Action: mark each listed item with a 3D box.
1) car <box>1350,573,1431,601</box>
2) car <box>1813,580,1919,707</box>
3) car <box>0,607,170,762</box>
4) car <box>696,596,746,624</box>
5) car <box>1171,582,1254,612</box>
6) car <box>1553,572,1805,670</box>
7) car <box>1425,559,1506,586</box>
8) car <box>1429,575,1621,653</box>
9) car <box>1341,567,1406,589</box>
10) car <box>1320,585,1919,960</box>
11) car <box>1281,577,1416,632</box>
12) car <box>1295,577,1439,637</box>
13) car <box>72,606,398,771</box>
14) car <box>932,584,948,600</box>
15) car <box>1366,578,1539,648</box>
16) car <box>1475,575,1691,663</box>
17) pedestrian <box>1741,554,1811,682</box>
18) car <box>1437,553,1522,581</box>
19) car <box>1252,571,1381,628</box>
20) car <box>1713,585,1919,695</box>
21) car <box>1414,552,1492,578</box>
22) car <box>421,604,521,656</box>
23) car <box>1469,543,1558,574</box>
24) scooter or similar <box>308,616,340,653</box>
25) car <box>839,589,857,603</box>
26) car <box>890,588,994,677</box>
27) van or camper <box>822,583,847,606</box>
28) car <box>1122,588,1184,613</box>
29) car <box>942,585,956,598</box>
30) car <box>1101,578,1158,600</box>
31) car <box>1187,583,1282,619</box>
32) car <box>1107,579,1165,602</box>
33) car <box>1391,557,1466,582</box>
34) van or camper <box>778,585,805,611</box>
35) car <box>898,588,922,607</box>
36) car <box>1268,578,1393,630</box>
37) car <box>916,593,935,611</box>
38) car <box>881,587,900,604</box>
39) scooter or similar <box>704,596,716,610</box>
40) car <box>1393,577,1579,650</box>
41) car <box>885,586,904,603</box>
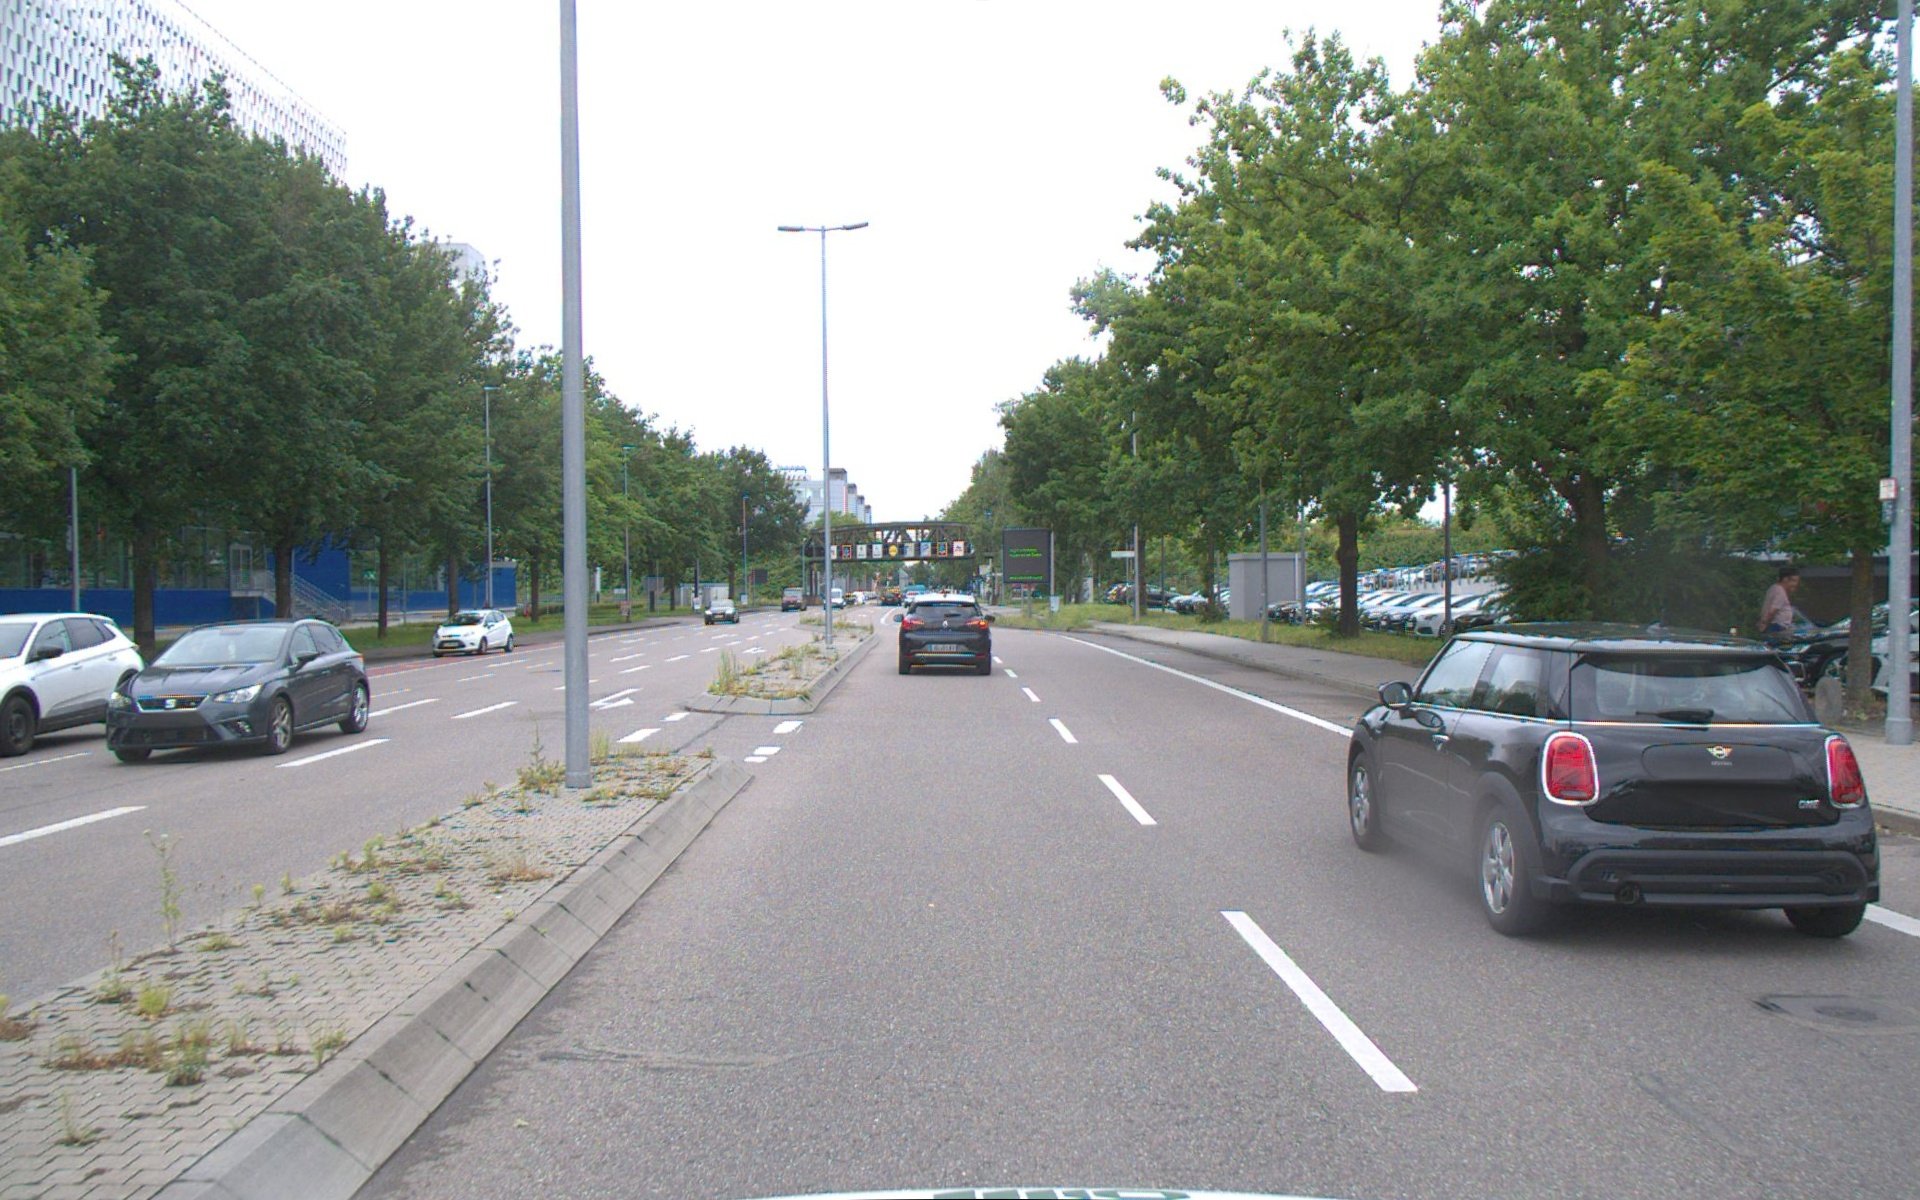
[{"bbox_3d":[24.001,-0.717,92.303,4.003,1.460,1.730,0,2,-2],"label":"car"},{"bbox_3d":[13.578,0.590,20.965,4.555,1.497,1.847,2,1,-2],"label":"car"},{"bbox_3d":[-11.702,1.026,20.094,1.953,1.622,4.577,-4,1,-1],"label":"car"},{"bbox_3d":[-13.880,0.564,96.371,1.877,1.528,4.254,-3,0,5],"label":"car"},{"bbox_3d":[13.096,-0.181,86.050,4.003,1.460,1.822,0,2,-2],"label":"car"},{"bbox_3d":[14.061,0.384,32.518,4.041,1.417,1.871,6,2,-2],"label":"car"},{"bbox_3d":[28.406,-1.546,92.938,4.003,1.460,1.730,0,2,-2],"label":"car"},{"bbox_3d":[13.792,0.330,40.528,3.982,1.511,1.819,5,2,-2],"label":"car"},{"bbox_3d":[28.291,-1.509,113.173,4.003,1.460,1.730,0,2,-2],"label":"car"},{"bbox_3d":[3.266,0.720,8.904,1.750,1.440,3.643,-2,2,-1],"label":"car"},{"bbox_3d":[13.755,0.145,58.727,4.207,1.530,2.029,5,1,0],"label":"car"},{"bbox_3d":[13.780,0.213,56.152,4.305,1.546,2.000,5,2,0],"label":"car"},{"bbox_3d":[-8.082,0.909,18.925,1.819,1.487,4.331,-2,1,-1],"label":"car"},{"bbox_3d":[-2.542,-1.060,215.227,1.910,1.847,4.002,0,2,1],"label":"car"},{"bbox_3d":[13.549,0.338,45.688,4.097,1.511,1.977,4,2,-1],"label":"car"},{"bbox_3d":[14.141,0.409,37.699,4.124,1.511,1.826,6,2,-2],"label":"car"},{"bbox_3d":[12.323,0.264,25.000,0.658,1.904,0.719,1,0,-2],"label":"pedestrian"},{"bbox_3d":[28.476,-1.835,90.680,4.003,1.460,1.946,0,2,-2],"label":"car"},{"bbox_3d":[13.696,-0.037,63.737,4.458,1.731,2.001,5,2,0],"label":"car"},{"bbox_3d":[13.327,0.576,23.792,4.119,1.445,1.855,2,1,-2],"label":"car"},{"bbox_3d":[28.523,-2.010,95.780,4.003,1.460,1.730,0,2,-2],"label":"car"},{"bbox_3d":[-16.322,0.982,55.451,1.818,1.487,4.334,-2,1,3],"label":"car"},{"bbox_3d":[28.596,-2.145,85.501,4.003,1.522,1.730,0,2,-2],"label":"car"},{"bbox_3d":[-21.516,1.155,55.969,0.642,1.217,1.377,1,1,-3],"label":"scooter or similar"},{"bbox_3d":[-13.091,-0.460,193.097,1.718,1.471,3.340,0,2,1],"label":"car"},{"bbox_3d":[-0.272,0.551,30.733,1.720,1.459,4.002,-1,1,2],"label":"car"},{"bbox_3d":[-10.893,-0.497,143.748,1.720,1.777,4.406,-4,1,-1],"label":"van or camper"},{"bbox_3d":[12.401,0.026,106.586,3.902,1.460,1.732,1,2,5],"label":"car"},{"bbox_3d":[-1.658,-1.236,249.732,1.910,1.847,4.002,0,2,1],"label":"car"},{"bbox_3d":[11.747,-0.773,114.992,3.902,1.460,1.732,1,2,5],"label":"car"},{"bbox_3d":[13.439,0.052,81.115,4.256,1.529,1.929,3,0,-2],"label":"car"},{"bbox_3d":[11.958,-0.640,112.642,3.902,1.460,1.732,1,2,5],"label":"car"},{"bbox_3d":[28.585,-1.854,100.962,4.114,1.460,1.730,0,2,-2],"label":"car"},{"bbox_3d":[-14.148,-0.161,139.052,1.837,2.021,4.889,-2,1,-1],"label":"van or camper"},{"bbox_3d":[-4.664,-0.248,154.742,2.091,1.690,3.783,0,2,1],"label":"car"},{"bbox_3d":[13.650,0.137,61.136,4.091,1.470,1.960,5,2,0],"label":"car"},{"bbox_3d":[-3.866,0.174,184.224,1.910,1.847,4.002,0,2,1],"label":"car"},{"bbox_3d":[-7.725,-0.484,183.805,1.845,1.690,3.783,0,2,1],"label":"car"},{"bbox_3d":[-20.554,0.240,136.067,0.747,1.108,2.006,0,2,-2],"label":"scooter or similar"},{"bbox_3d":[13.661,0.330,43.131,4.112,1.511,1.959,4,2,-2],"label":"car"},{"bbox_3d":[-7.501,-0.631,190.600,1.910,1.847,4.002,0,2,1],"label":"car"}]
